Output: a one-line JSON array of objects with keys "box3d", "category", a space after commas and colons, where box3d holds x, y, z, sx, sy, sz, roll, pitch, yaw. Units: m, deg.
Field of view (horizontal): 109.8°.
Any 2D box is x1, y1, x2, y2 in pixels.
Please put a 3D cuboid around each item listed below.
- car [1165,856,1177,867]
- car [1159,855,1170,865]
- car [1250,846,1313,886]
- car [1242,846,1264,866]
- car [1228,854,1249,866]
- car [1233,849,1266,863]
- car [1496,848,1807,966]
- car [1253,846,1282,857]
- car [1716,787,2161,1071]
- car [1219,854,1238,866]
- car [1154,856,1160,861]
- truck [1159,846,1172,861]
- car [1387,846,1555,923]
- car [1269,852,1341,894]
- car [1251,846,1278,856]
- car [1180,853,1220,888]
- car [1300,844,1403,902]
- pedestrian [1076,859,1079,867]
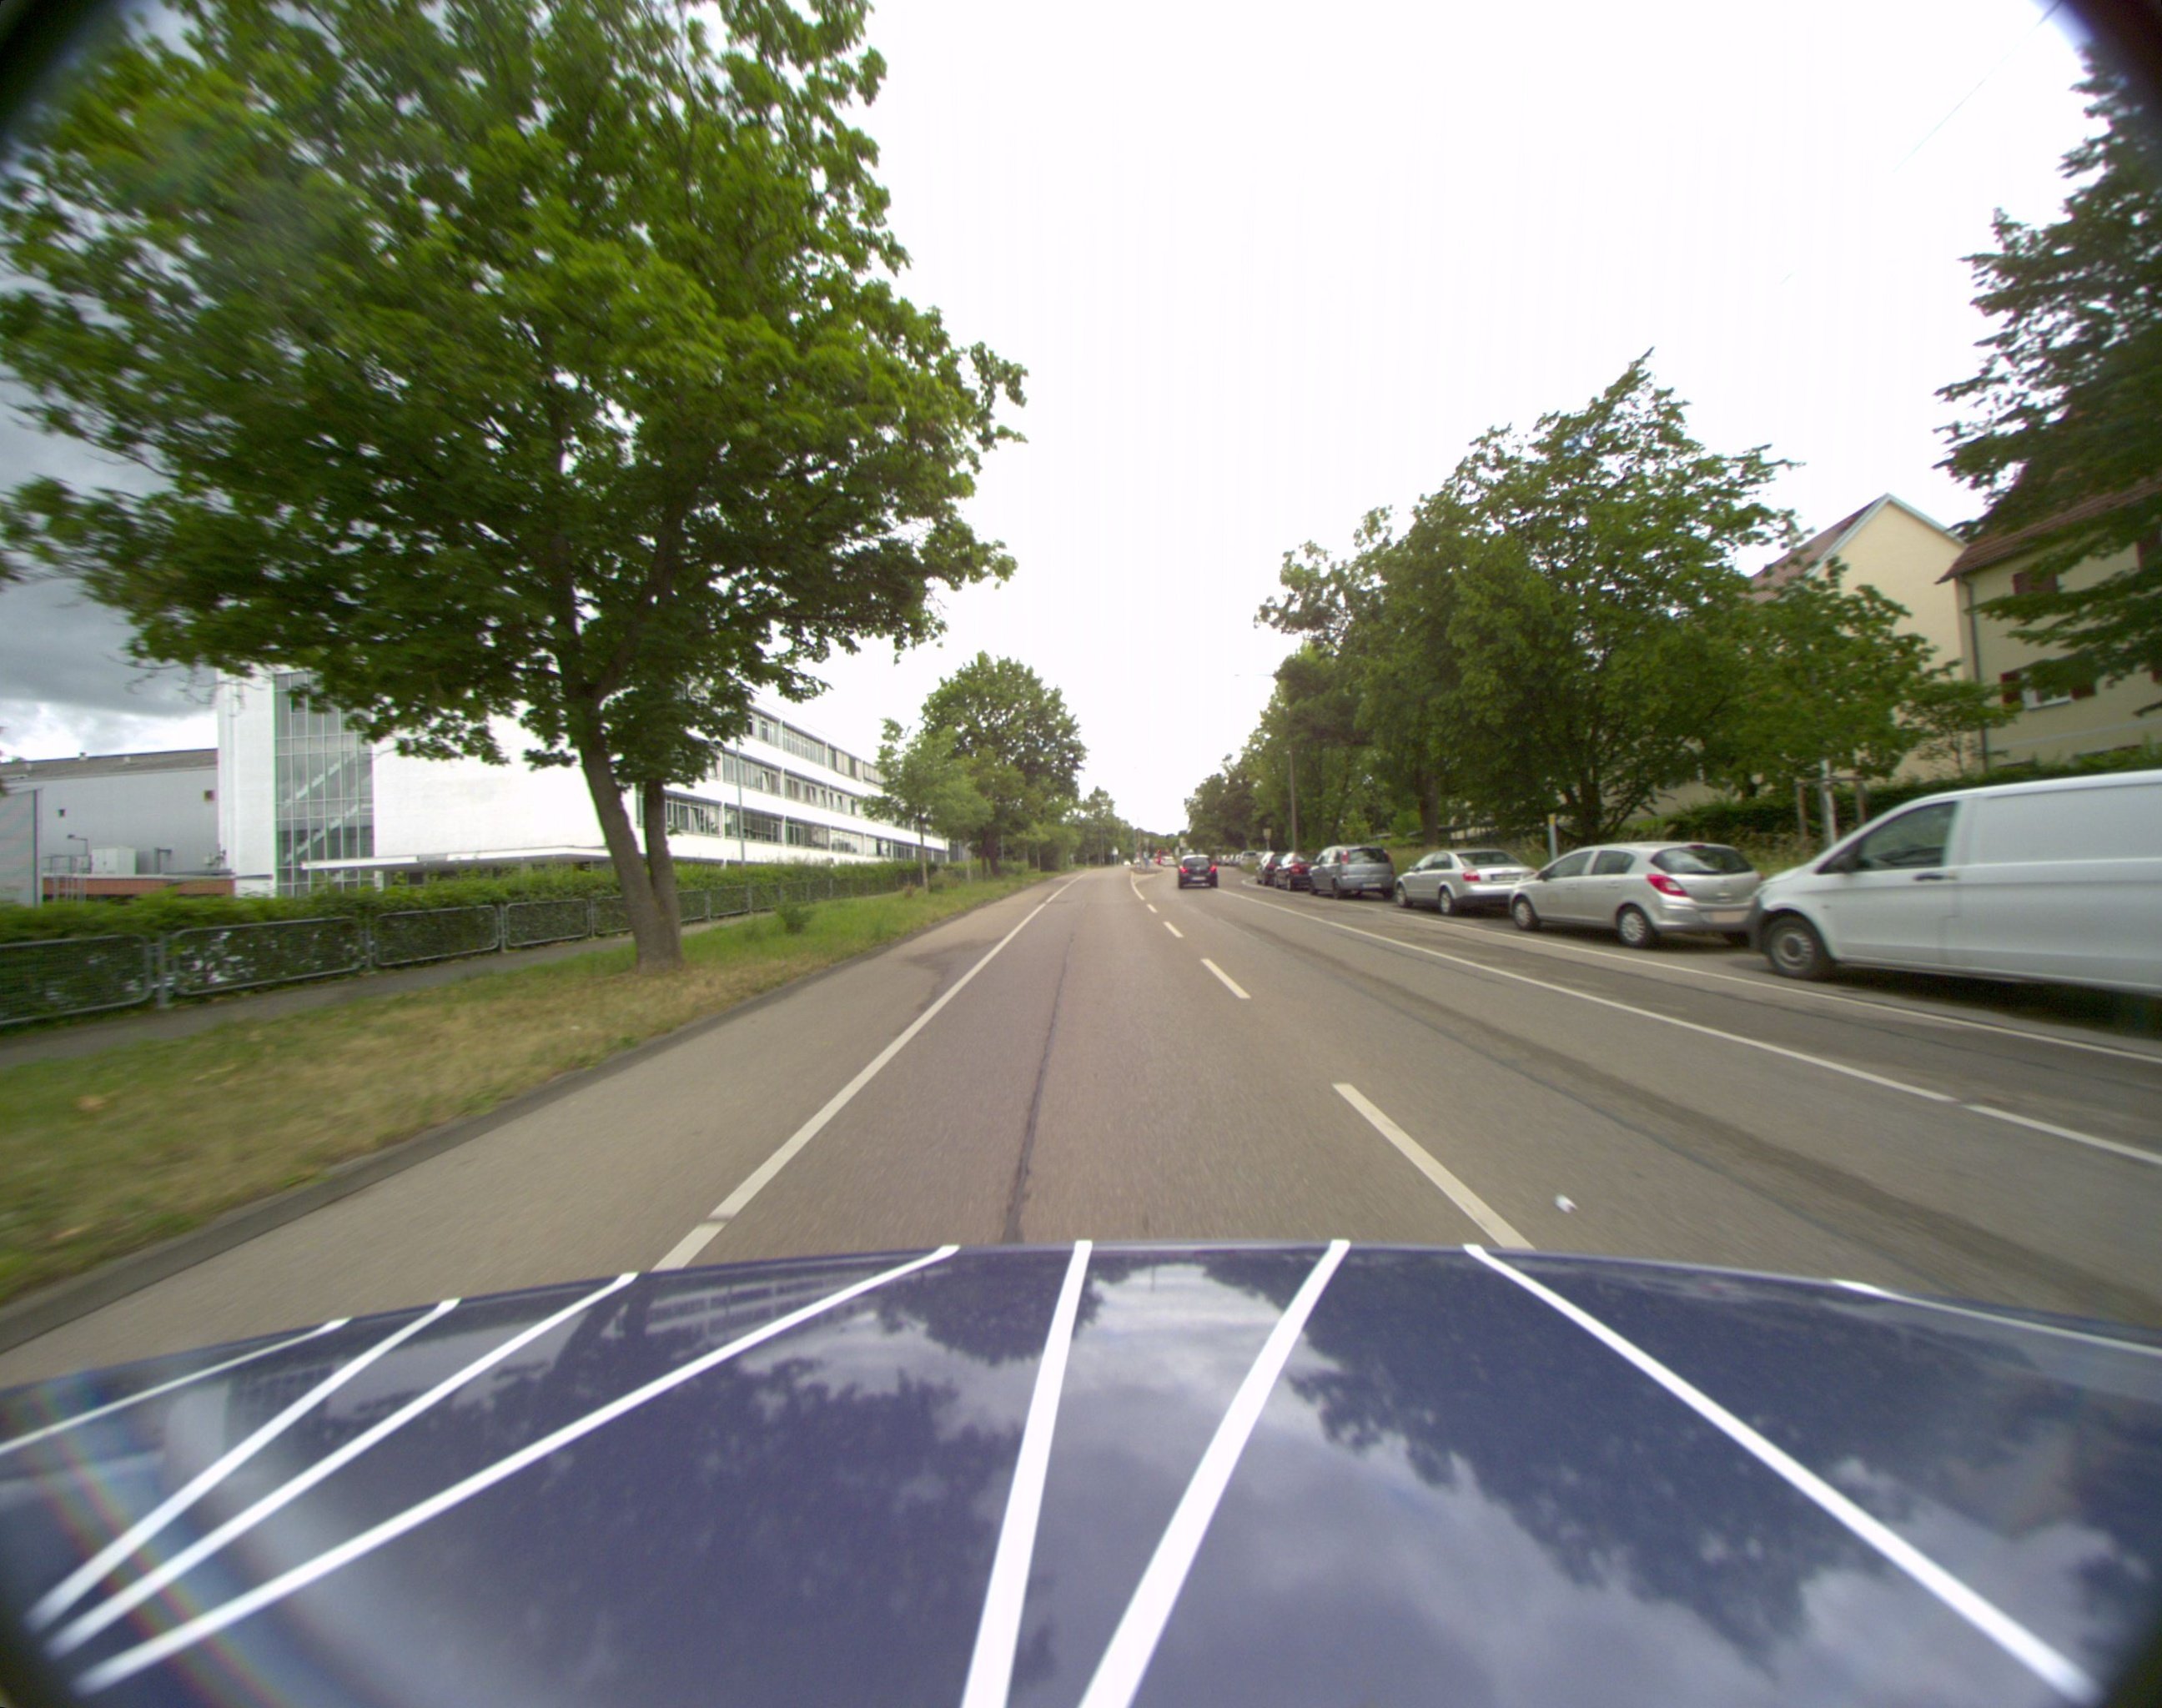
[{"box3d": [14.801, 1.262, 125.317, 1.879, 1.561, 4.340, -3, 1, 5], "category": "car"}, {"box3d": [16.929, 1.201, 154.180, 1.832, 1.759, 4.408, -3, -1, 3], "category": "car"}, {"box3d": [8.821, 0.505, 33.824, 1.879, 1.561, 4.652, -3, 0, 5], "category": "car"}, {"box3d": [16.375, 0.176, 72.480, 1.878, 1.657, 4.393, -3, 1, 11], "category": "car"}, {"box3d": [20.074, 0.774, 96.863, 1.879, 1.498, 4.001, -3, -1, 3], "category": "car"}, {"box3d": [18.505, 0.241, 83.558, 1.882, 1.498, 3.995, -2, -1, -15], "category": "car"}, {"box3d": [8.374, 0.695, 11.680, 1.639, 1.425, 3.949, -3, 0, -2], "category": "car"}, {"box3d": [36.992, -0.475, 150.963, 5.296, 2.002, 2.012, -1, 1, 2], "category": "car"}, {"box3d": [8.169, 0.471, 6.100, 1.772, 1.919, 5.155, -3, 0, 0], "category": "car"}, {"box3d": [19.981, 0.863, 102.994, 1.879, 1.498, 4.058, -3, 0, 3], "category": "car"}, {"box3d": [25.054, 1.606, 250.424, 1.591, 1.608, 3.586, -2, -1, 7], "category": "car"}, {"box3d": [20.645, -0.094, 185.071, 2.830, 3.460, 7.828, -2, 0, 7], "category": "truck"}, {"box3d": [8.592, 0.616, 17.218, 1.772, 1.486, 4.358, -1, 0, 3], "category": "car"}, {"box3d": [8.470, 0.676, 29.070, 1.772, 1.439, 4.151, -2, 0, 4], "category": "car"}, {"box3d": [38.394, -0.640, 158.880, 5.296, 2.002, 1.740, -1, 1, 4], "category": "car"}, {"box3d": [5.362, 0.710, 34.567, 1.640, 1.459, 4.002, -1, 0, 7], "category": "car"}, {"box3d": [8.336, 0.556, 23.817, 1.772, 1.582, 4.135, -2, 0, 1], "category": "car"}, {"box3d": [-0.782, 1.971, 164.871, 0.734, 1.717, 0.502, -1, 1, 0], "category": "pedestrian"}]
